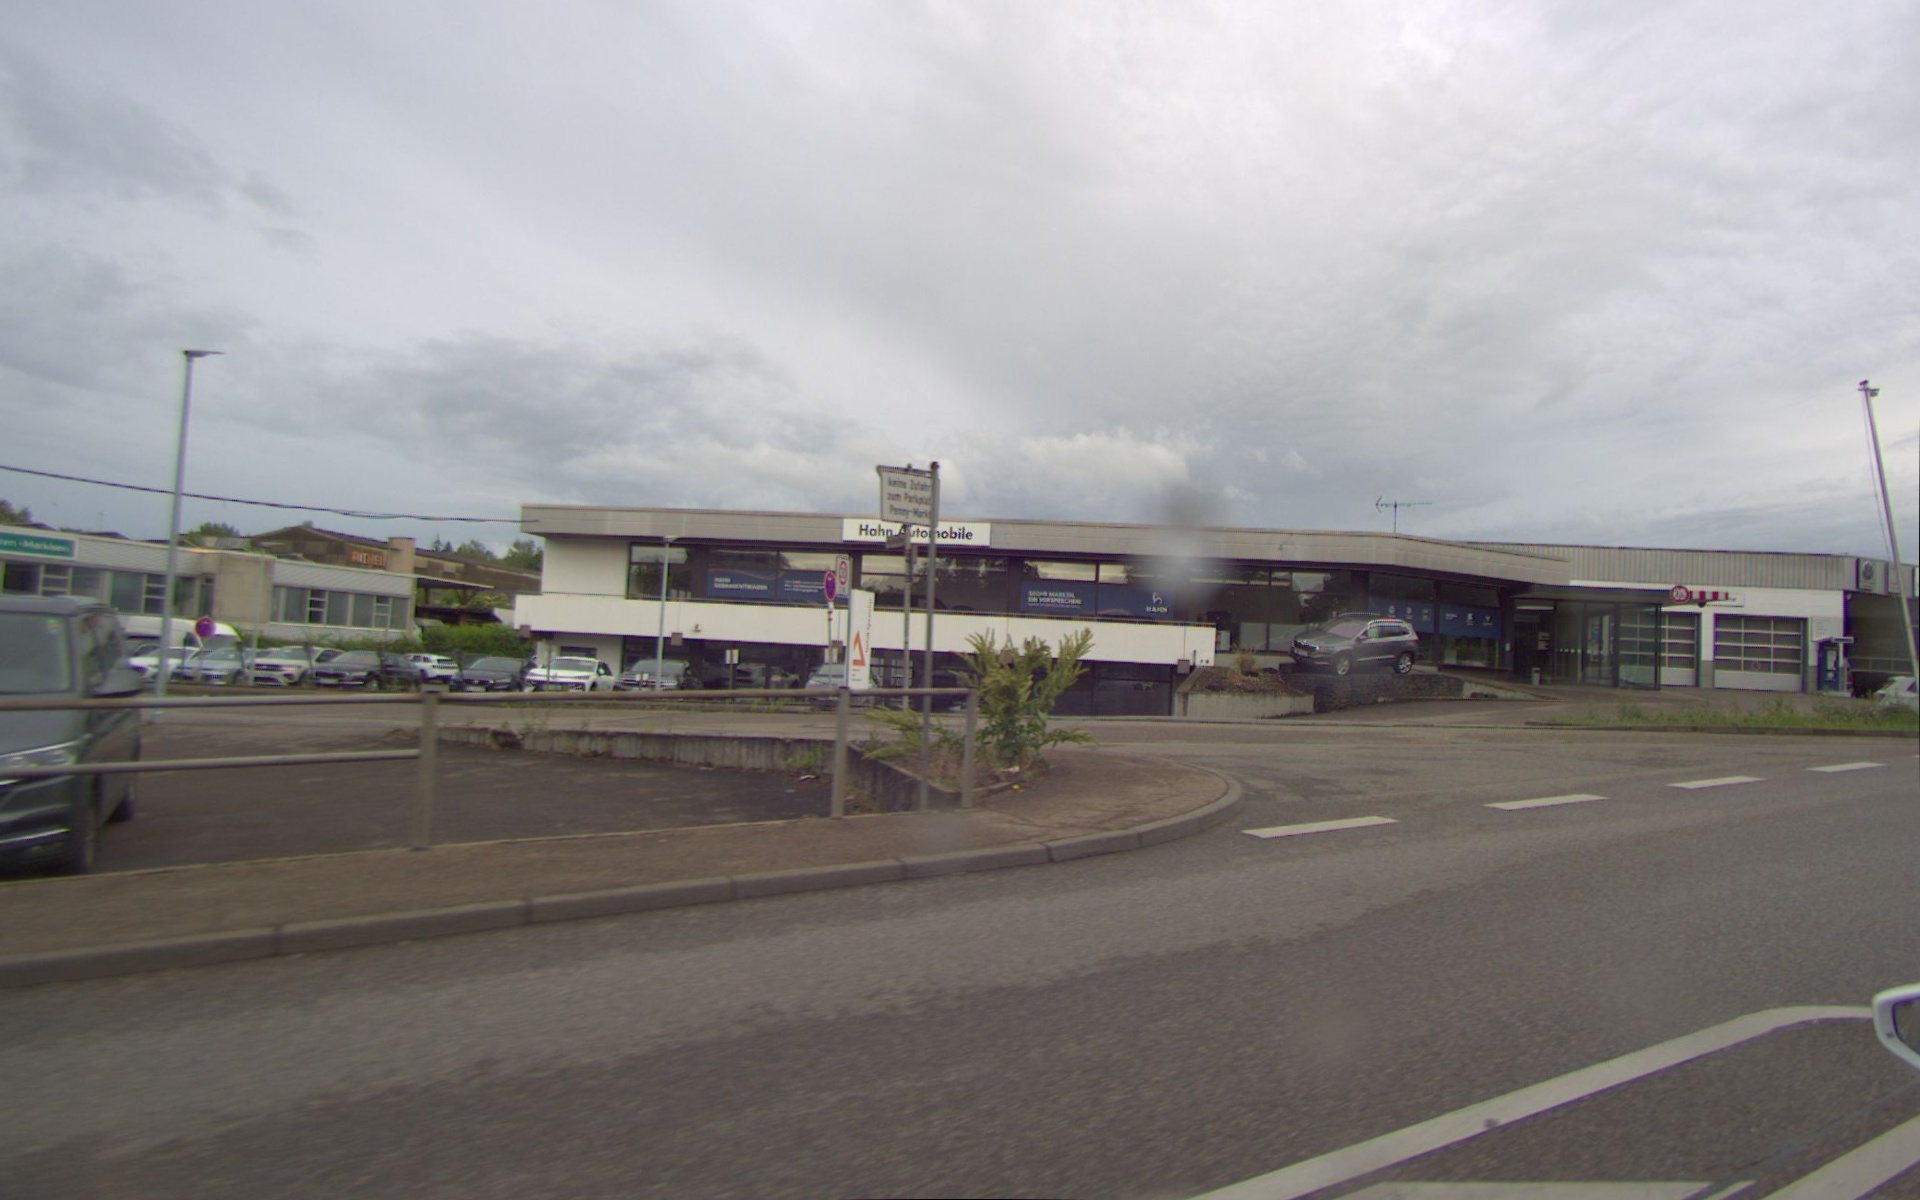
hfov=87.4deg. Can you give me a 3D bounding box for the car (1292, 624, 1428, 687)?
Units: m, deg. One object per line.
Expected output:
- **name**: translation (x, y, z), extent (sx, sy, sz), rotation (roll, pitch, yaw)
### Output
- **car**: translation (12.239, 1.715, 30.671), extent (4.194, 1.823, 1.395), rotation (2, -3, -26)

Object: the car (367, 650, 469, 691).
- **car**: translation (-30.576, 3.957, 56.685), extent (5.274, 1.990, 2.000), rotation (2, -2, 21)

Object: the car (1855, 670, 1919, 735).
- **car**: translation (24.192, 2.476, 23.870), extent (1.801, 1.497, 3.993), rotation (1, -3, -28)

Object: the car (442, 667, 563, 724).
- **car**: translation (-13.325, 2.755, 29.509), extent (1.808, 1.446, 3.991), rotation (0, -3, -2)

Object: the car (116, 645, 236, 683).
- **car**: translation (-25.669, 2.070, 33.014), extent (1.423, 1.194, 3.262), rotation (0, -3, -2)

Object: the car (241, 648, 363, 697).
- **car**: translation (-20.601, 2.237, 31.613), extent (1.552, 1.446, 3.593), rotation (0, -3, -2)

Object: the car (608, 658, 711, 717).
- **car**: translation (-8.232, 2.373, 27.852), extent (1.745, 1.446, 3.991), rotation (0, -3, -2)

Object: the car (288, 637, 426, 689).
- **car**: translation (-17.960, 1.844, 30.142), extent (1.808, 1.446, 3.991), rotation (0, -3, -2)

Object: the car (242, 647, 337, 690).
- **car**: translation (-32.885, 3.361, 49.264), extent (3.922, 2.039, 1.818), rotation (-1, -5, 21)

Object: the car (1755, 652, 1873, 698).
- **car**: translation (38.915, 3.447, 45.925), extent (1.948, 1.985, 4.491), rotation (0, -5, 8)

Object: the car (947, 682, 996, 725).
- **car**: translation (0.431, 4.089, 40.066), extent (1.852, 1.446, 4.107), rotation (0, -3, -1)

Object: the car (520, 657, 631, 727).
- **car**: translation (-10.995, 2.591, 29.022), extent (1.785, 1.811, 3.991), rotation (0, -3, -2)

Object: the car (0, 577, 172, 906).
- **car**: translation (-7.317, 0.895, 7.610), extent (1.805, 1.895, 5.034), rotation (3, -4, -35)

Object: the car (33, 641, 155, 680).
- **car**: translation (-28.197, 1.951, 32.812), extent (1.355, 1.203, 3.063), rotation (0, -3, -2)

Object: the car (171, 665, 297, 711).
- **car**: translation (-23.175, 2.775, 32.214), extent (1.559, 1.306, 3.502), rotation (0, -3, -2)

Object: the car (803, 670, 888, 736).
- **car**: translation (-2.852, 2.573, 25.831), extent (1.853, 1.446, 4.106), rotation (0, -3, -2)

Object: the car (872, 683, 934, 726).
- **car**: translation (-2.209, 4.112, 39.993), extent (1.851, 1.446, 4.109), rotation (0, -3, 5)

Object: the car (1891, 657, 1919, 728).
- **car**: translation (26.484, 2.366, 25.065), extent (1.910, 1.821, 4.395), rotation (1, -3, -28)

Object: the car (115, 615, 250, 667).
- **car**: translation (-34.870, 1.803, 45.051), extent (5.763, 2.040, 2.000), rotation (2, -2, 21)

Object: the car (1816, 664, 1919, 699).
- **car**: translation (41.280, 3.674, 45.490), extent (1.914, 1.434, 4.025), rotation (0, -3, 7)
